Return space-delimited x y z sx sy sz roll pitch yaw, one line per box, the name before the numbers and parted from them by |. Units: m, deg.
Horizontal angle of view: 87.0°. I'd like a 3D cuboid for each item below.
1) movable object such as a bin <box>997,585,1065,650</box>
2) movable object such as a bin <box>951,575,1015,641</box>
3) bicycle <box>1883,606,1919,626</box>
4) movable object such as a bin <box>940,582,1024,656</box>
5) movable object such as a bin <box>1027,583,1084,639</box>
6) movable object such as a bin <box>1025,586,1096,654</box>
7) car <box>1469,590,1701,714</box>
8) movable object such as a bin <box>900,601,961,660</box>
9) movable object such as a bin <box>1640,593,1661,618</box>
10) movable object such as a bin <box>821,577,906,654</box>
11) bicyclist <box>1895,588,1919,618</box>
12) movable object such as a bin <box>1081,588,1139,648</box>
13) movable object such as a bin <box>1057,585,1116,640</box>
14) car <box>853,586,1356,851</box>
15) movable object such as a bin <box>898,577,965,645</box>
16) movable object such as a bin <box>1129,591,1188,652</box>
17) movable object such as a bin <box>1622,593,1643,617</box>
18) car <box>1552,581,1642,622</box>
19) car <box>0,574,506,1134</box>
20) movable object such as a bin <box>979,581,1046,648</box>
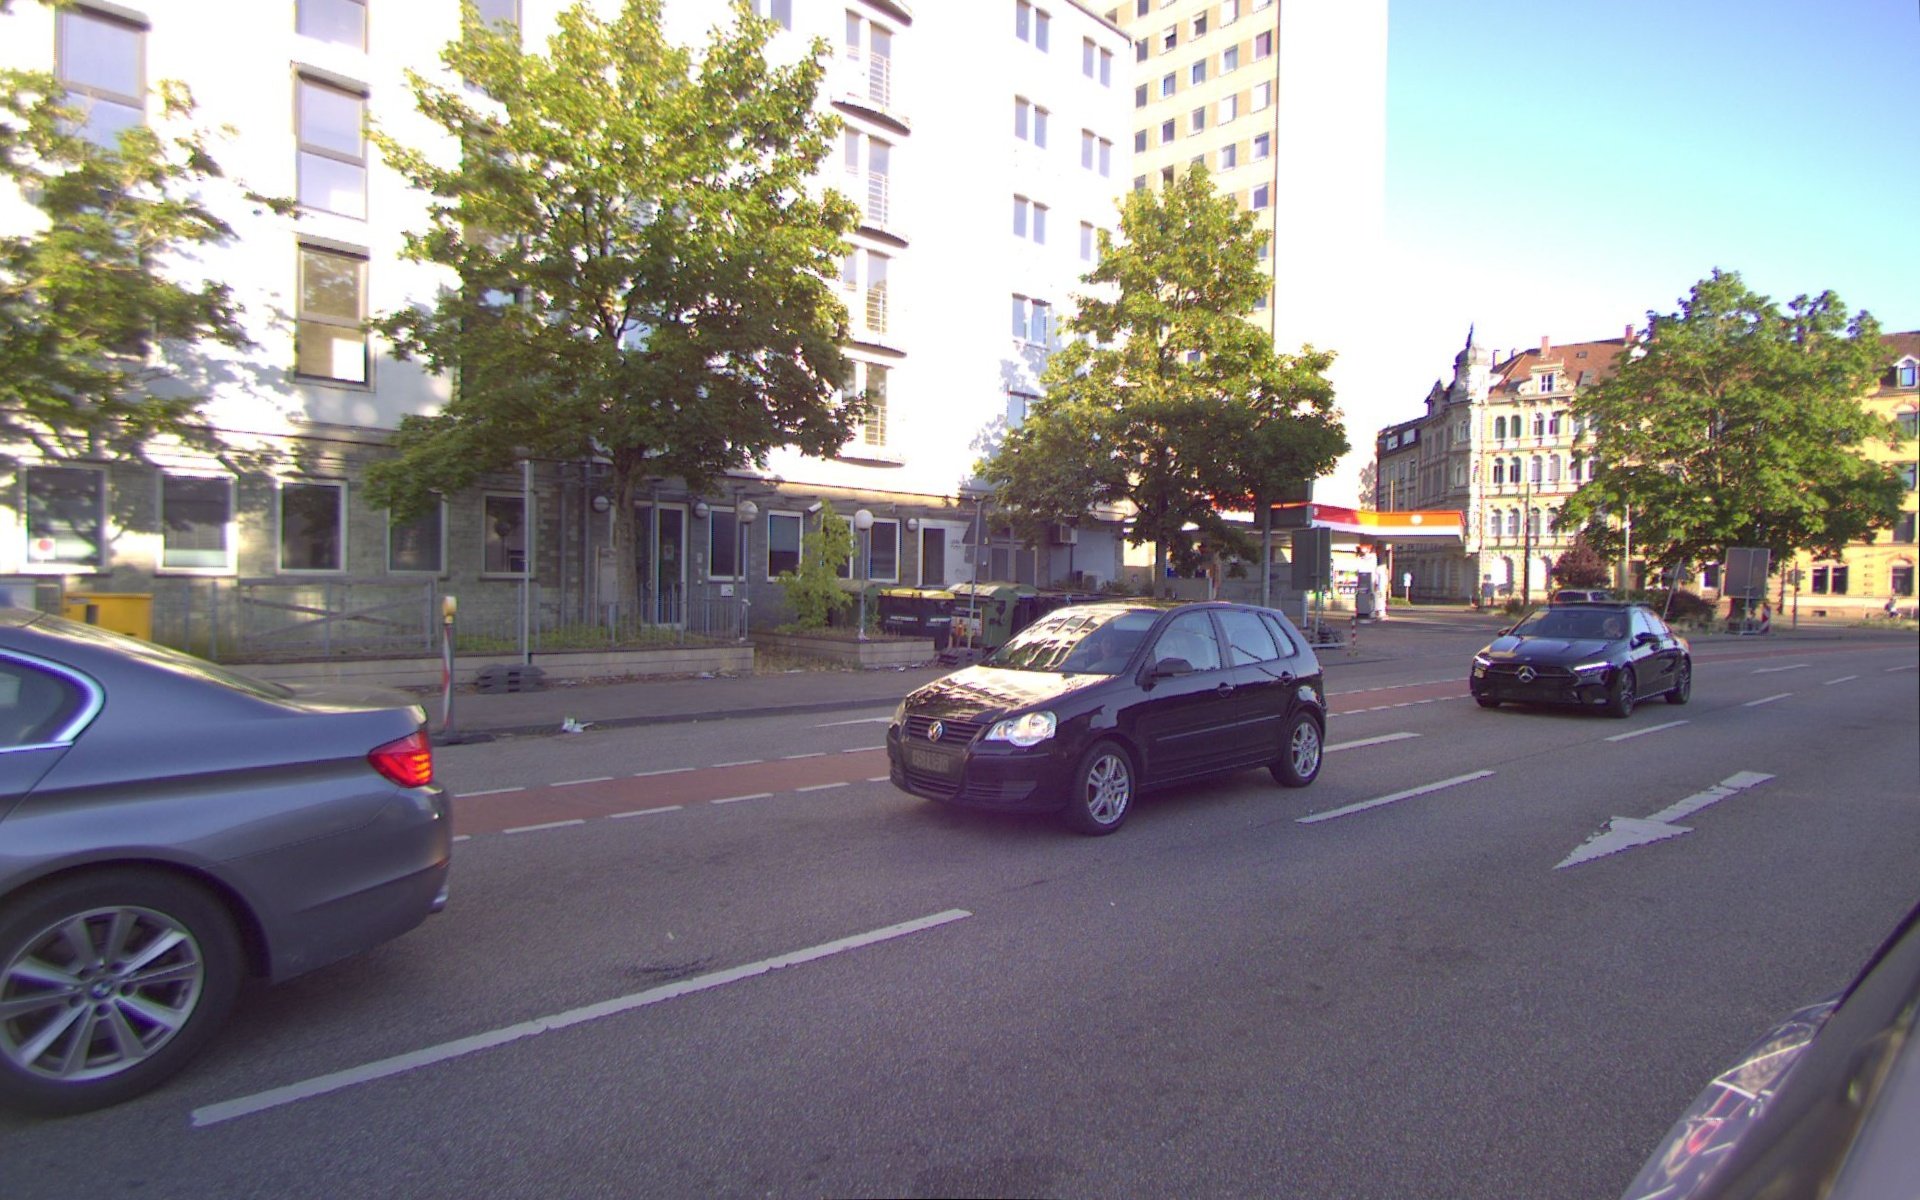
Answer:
movable object such as a bin | 1.557 0.361 22.067 1.143 1.345 0.954 0 1 -44
movable object such as a bin | 0.550 0.180 24.189 1.143 1.517 1.033 0 1 -44
bicycle | 53.747 0.894 57.455 1.920 1.072 0.444 2 1 43
movable object such as a bin | 0.454 0.358 20.876 1.088 1.441 1.348 0 2 -45
movable object such as a bin | 2.398 0.259 25.350 1.080 1.345 0.954 0 1 -44
movable object such as a bin | 2.103 0.390 21.080 1.143 1.345 0.954 0 1 -44
car | 8.678 0.600 13.912 3.977 1.467 1.729 0 0 -43
movable object such as a bin | -0.561 0.572 19.476 0.851 1.058 0.807 2 1 45
movable object such as a bin | 29.418 0.227 43.100 0.675 1.031 0.544 0 1 -36
movable object such as a bin | -1.948 0.285 20.407 1.088 1.479 1.348 0 1 -45
bicyclist | 53.786 0.137 57.427 1.062 1.669 0.721 2 1 43
movable object such as a bin | 3.499 0.390 23.639 0.938 1.345 0.954 0 1 -43
movable object such as a bin | 3.078 0.289 24.621 1.080 1.299 0.954 0 1 -44
car | 1.227 0.642 7.465 3.804 1.467 1.583 0 0 -41
movable object such as a bin | -0.667 0.234 23.627 1.143 1.517 1.033 0 1 -44
movable object such as a bin | 4.537 0.474 23.180 0.938 1.345 0.954 0 1 -43
movable object such as a bin | 29.104 0.212 43.786 0.675 1.031 0.544 0 1 -36
car | 25.766 0.030 40.907 3.723 1.535 1.691 -1 2 -34
car | -3.866 0.661 2.621 4.588 1.467 1.817 0 0 -43
movable object such as a bin | 1.198 0.318 23.197 1.143 1.467 1.033 0 1 -44
